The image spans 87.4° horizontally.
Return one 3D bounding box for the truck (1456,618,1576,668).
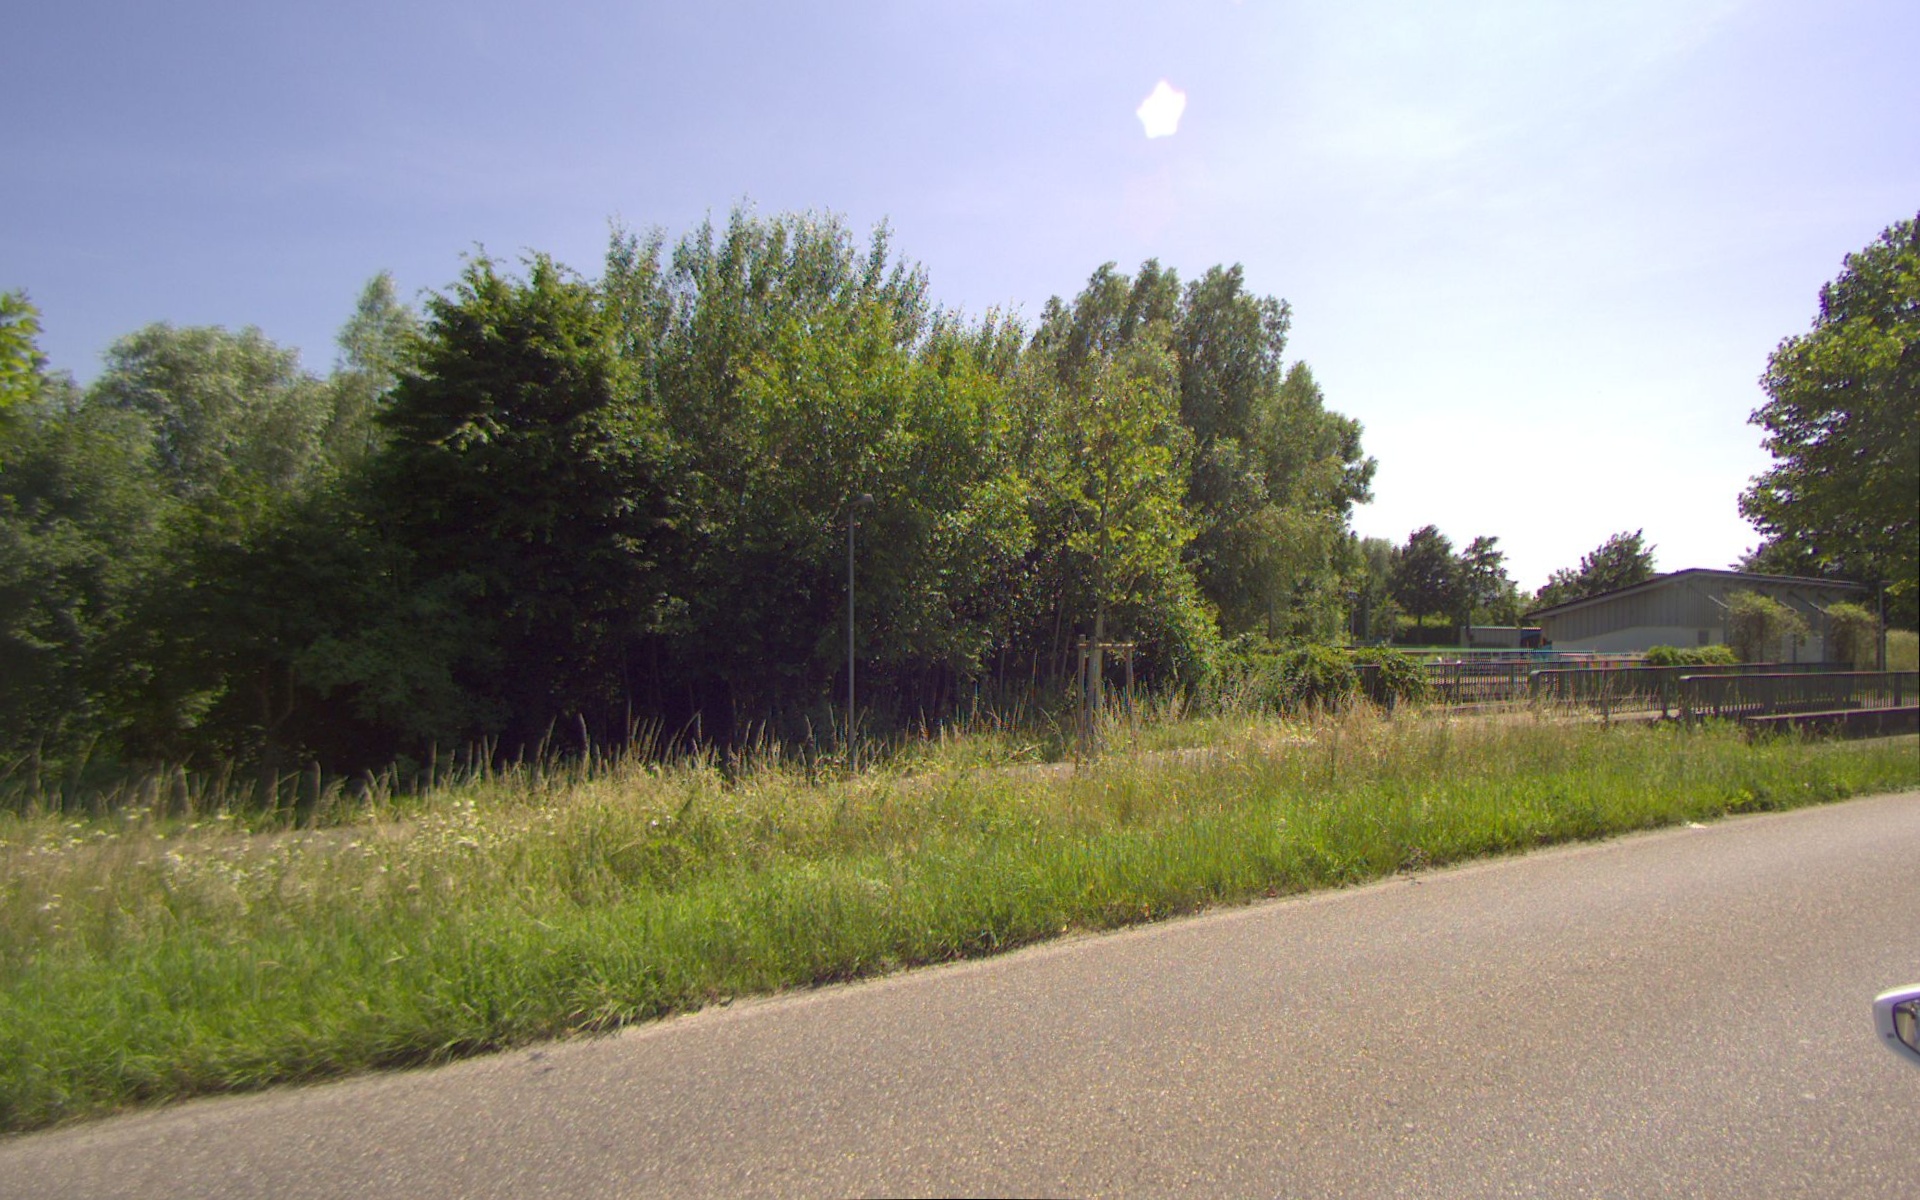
[{"bbox_3d":[27.134,2.076,49.020,5.112,2.246,2.972,2,-1,-31],"label":"truck"}]
